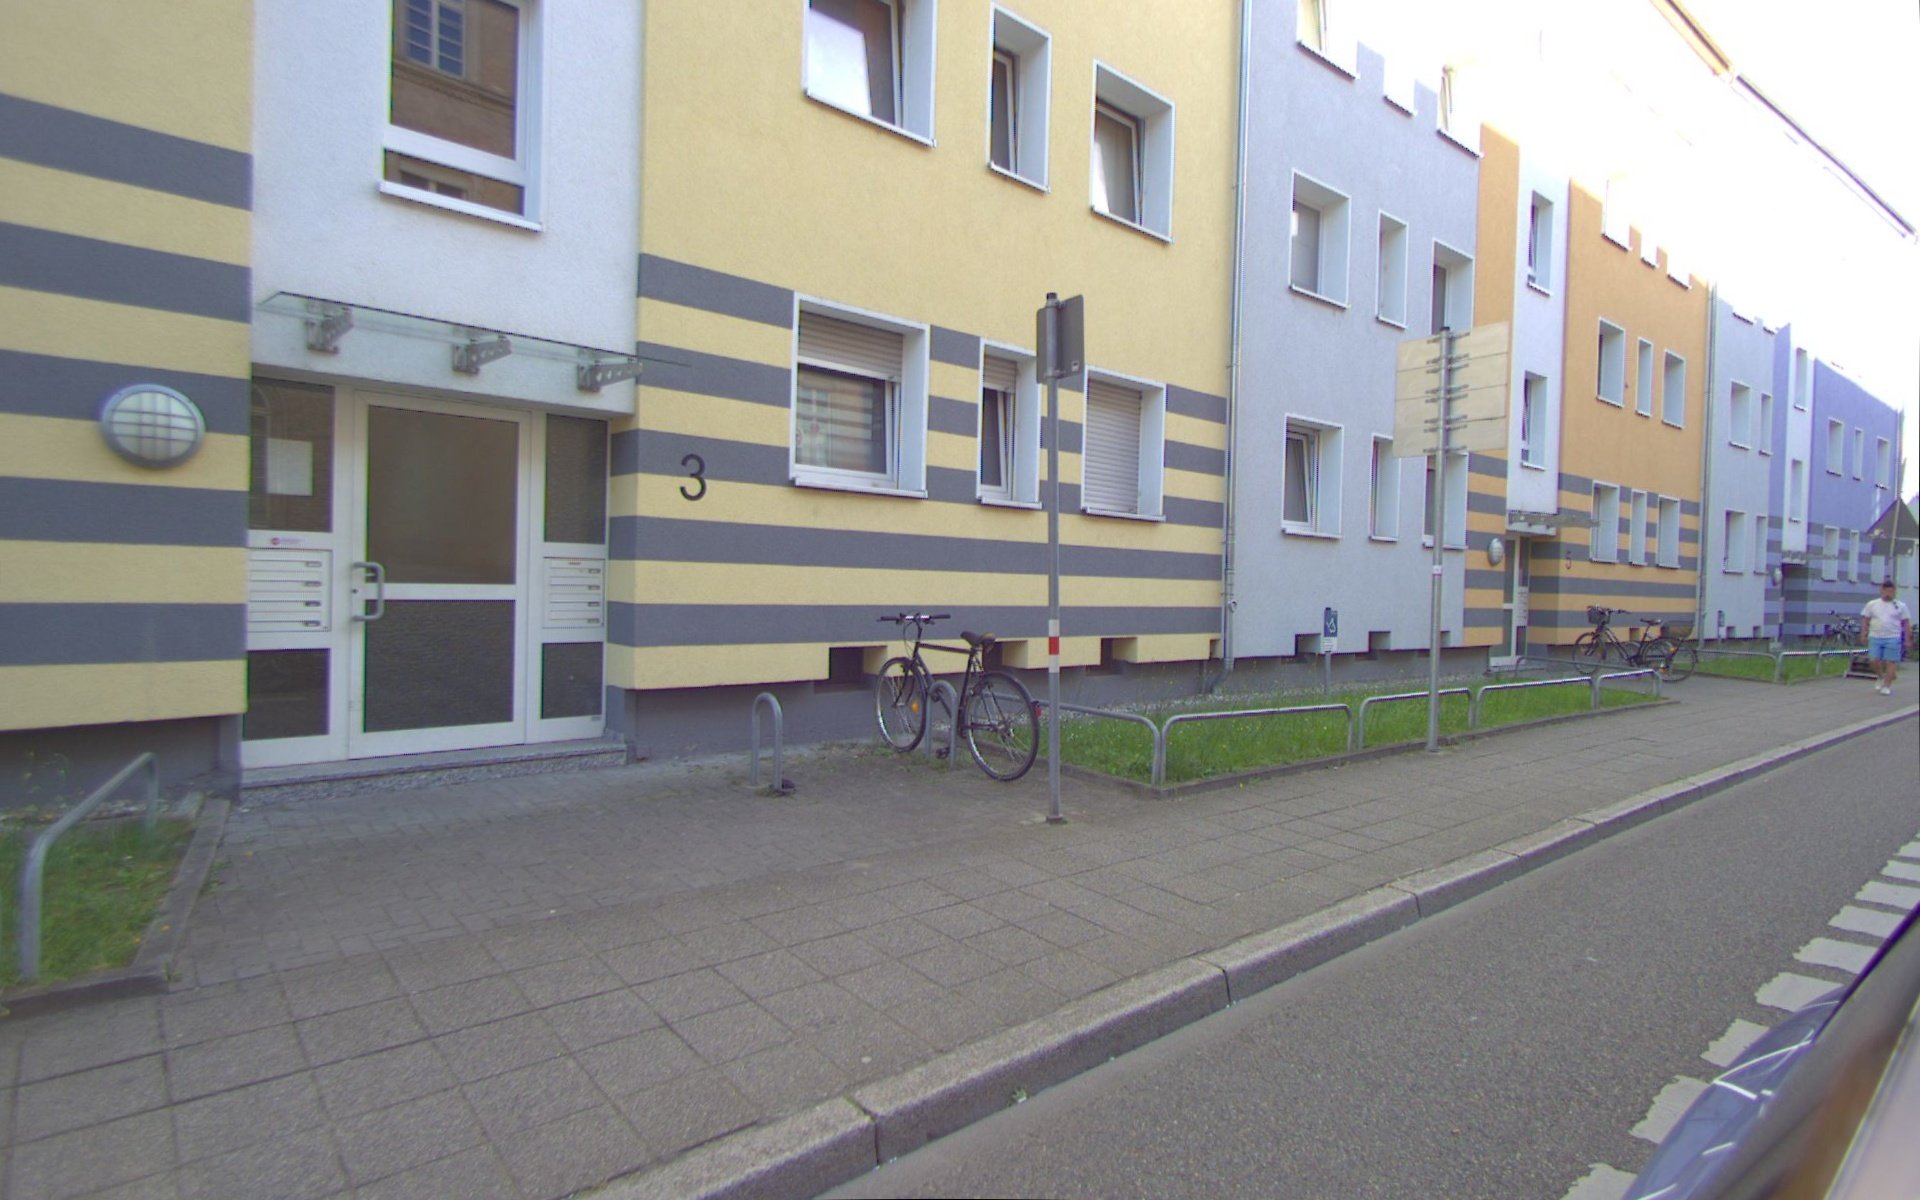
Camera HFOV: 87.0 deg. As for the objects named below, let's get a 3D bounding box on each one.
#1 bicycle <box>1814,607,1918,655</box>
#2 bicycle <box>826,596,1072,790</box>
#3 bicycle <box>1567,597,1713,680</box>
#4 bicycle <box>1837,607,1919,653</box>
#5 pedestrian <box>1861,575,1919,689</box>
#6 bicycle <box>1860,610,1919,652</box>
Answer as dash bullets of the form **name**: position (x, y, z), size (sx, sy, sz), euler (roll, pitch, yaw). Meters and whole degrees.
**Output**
- **bicycle**: position (22.181, 0.743, 24.816), size (0.572, 1.007, 1.779), euler (1, 3, -33)
- **bicycle**: position (-0.128, 0.558, 6.933), size (1.773, 1.061, 0.574), euler (5, 4, 45)
- **bicycle**: position (10.683, 0.574, 15.956), size (0.574, 1.138, 1.775), euler (0, 4, -42)
- **bicycle**: position (23.344, 0.747, 25.485), size (0.572, 1.007, 1.779), euler (1, 3, -33)
- **pedestrian**: position (14.477, 0.473, 15.623), size (0.819, 1.692, 0.644), euler (1, 2, -39)
- **bicycle**: position (24.047, 0.803, 25.593), size (0.572, 0.950, 1.779), euler (1, 3, -33)
